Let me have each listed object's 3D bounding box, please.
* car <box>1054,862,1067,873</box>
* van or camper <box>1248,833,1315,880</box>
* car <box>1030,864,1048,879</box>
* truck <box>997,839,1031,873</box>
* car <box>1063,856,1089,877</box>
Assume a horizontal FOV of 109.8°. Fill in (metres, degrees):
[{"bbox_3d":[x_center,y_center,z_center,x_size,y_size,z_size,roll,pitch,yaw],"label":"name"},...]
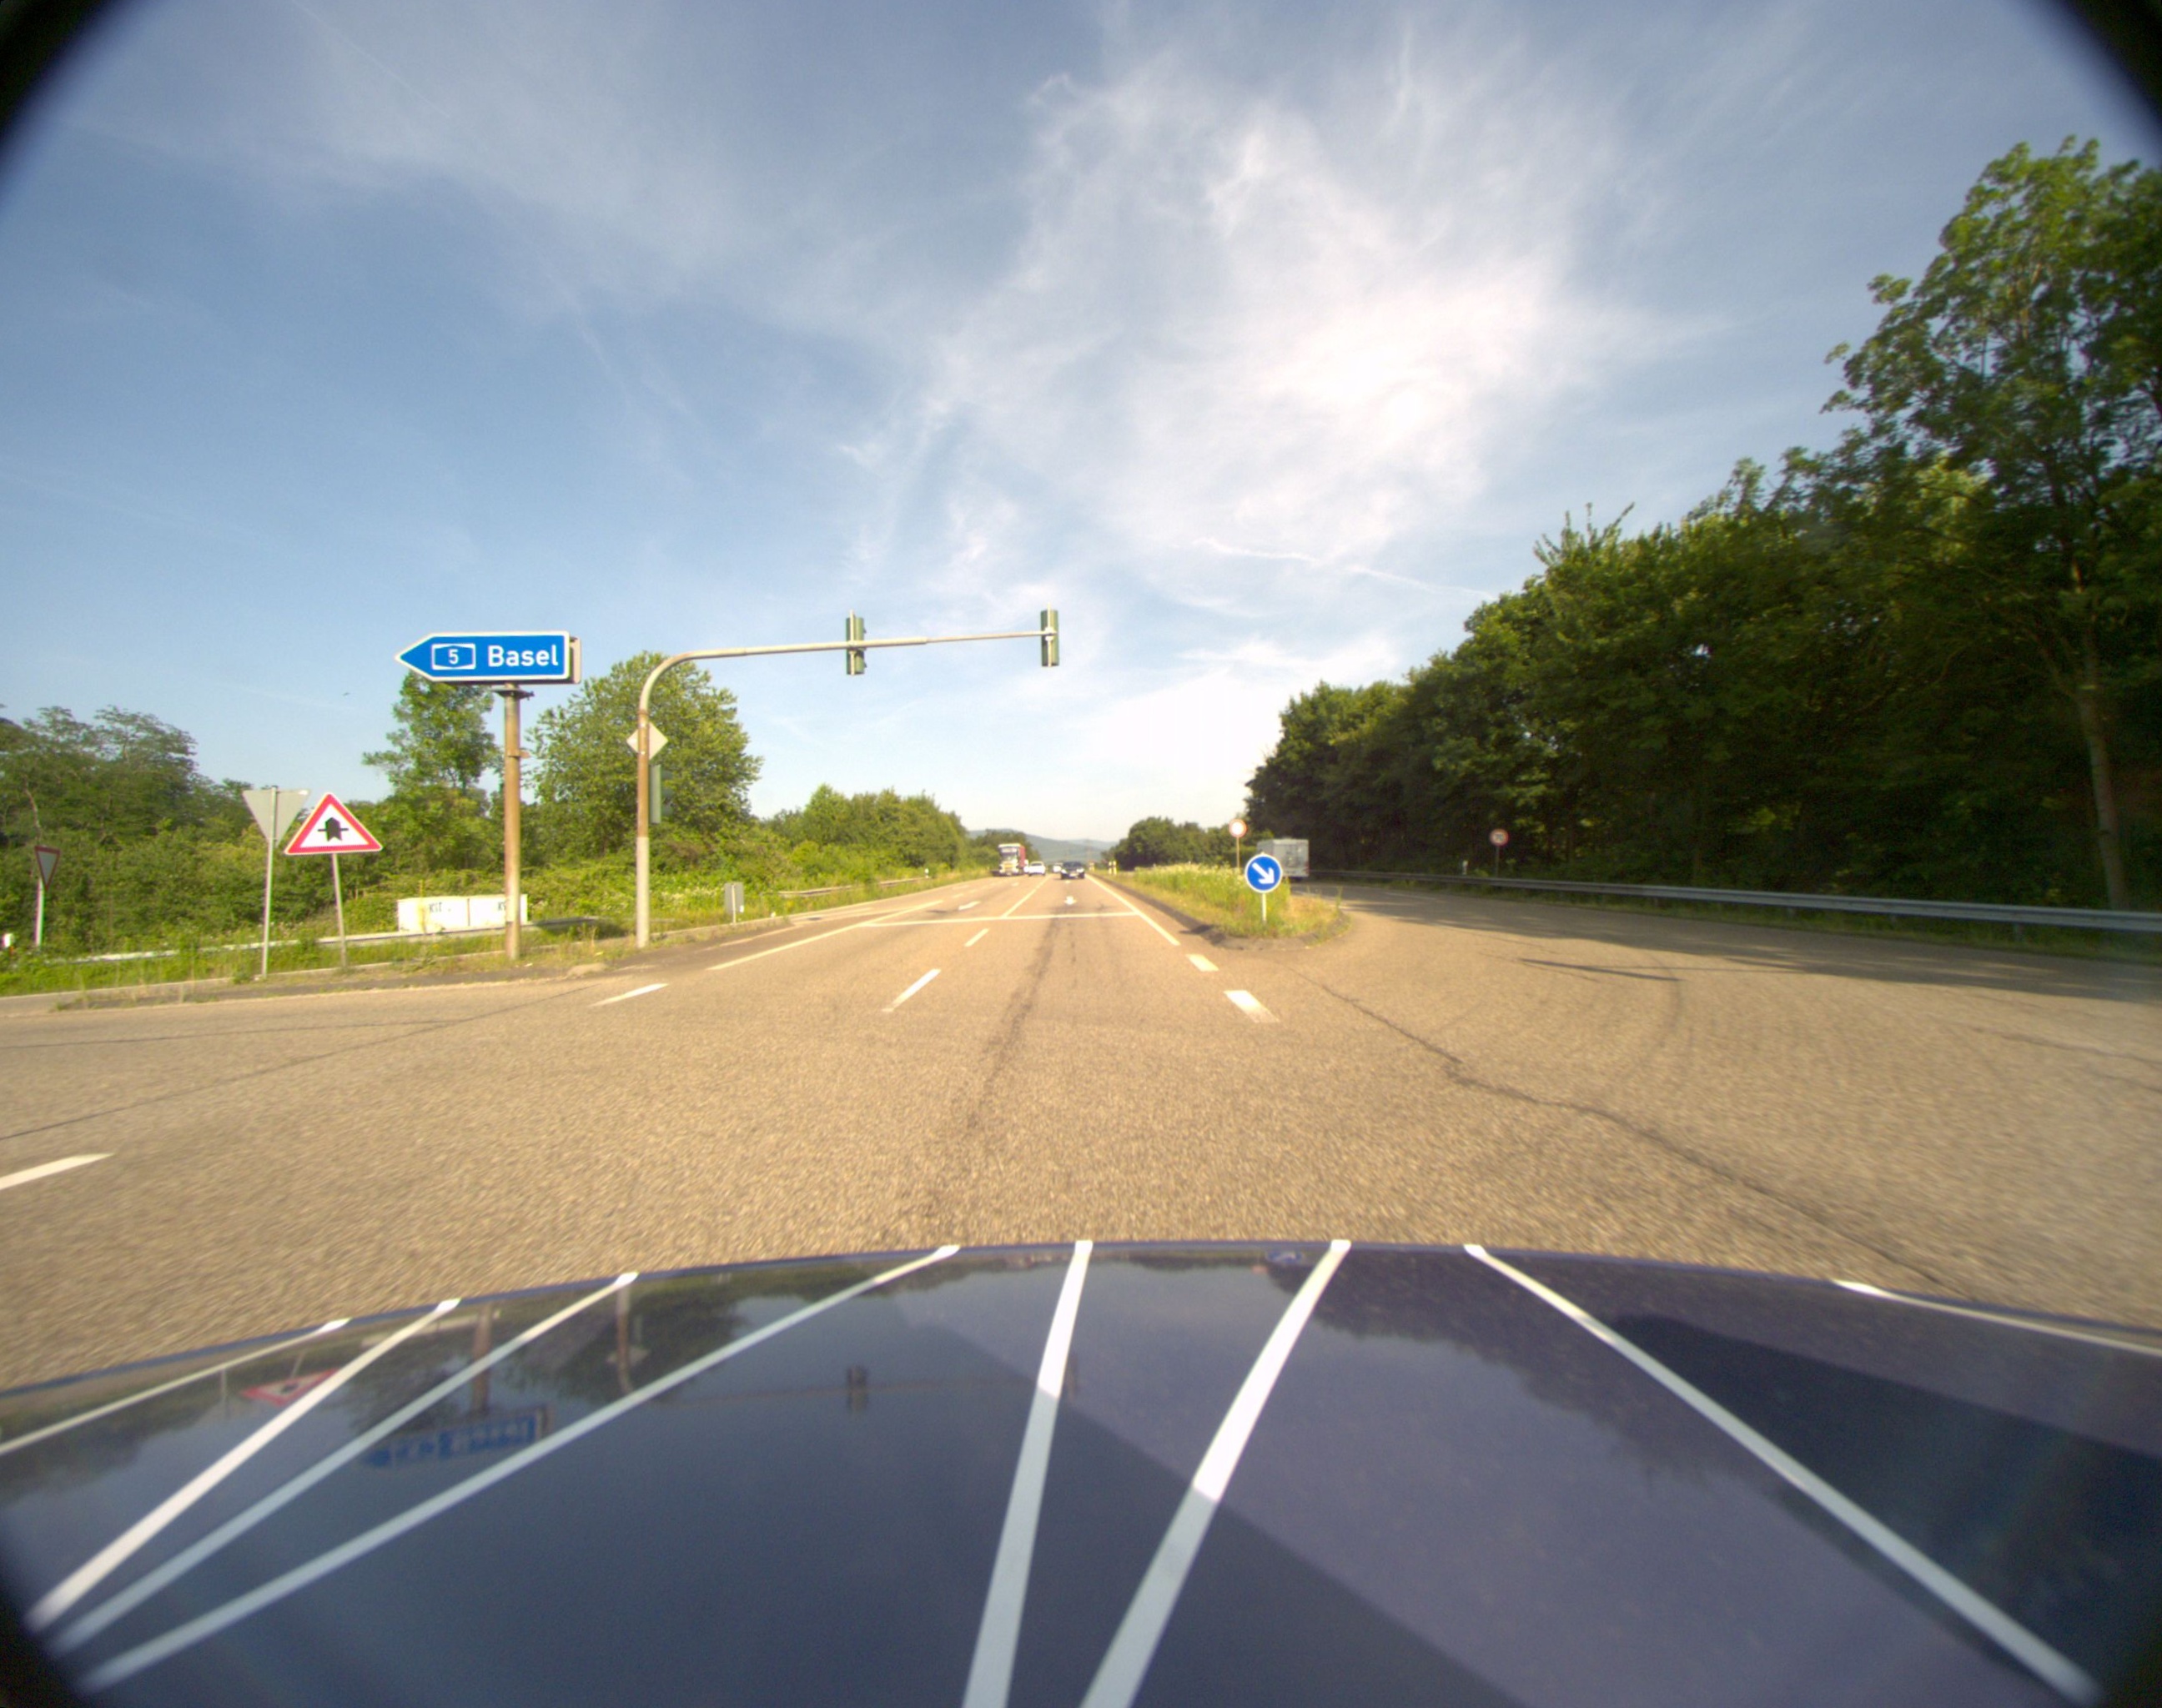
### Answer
[{"bbox_3d":[-3.489,2.238,129.318,1.999,1.632,3.999,-3,0,-3],"label":"car"},{"bbox_3d":[12.408,0.153,47.628,2.419,2.695,6.436,1,0,-1],"label":"van or camper"},{"bbox_3d":[-4.590,1.915,84.060,1.875,1.625,4.833,-1,0,-2],"label":"car"},{"bbox_3d":[-8.687,0.205,100.197,3.197,3.995,14.561,-3,0,-1],"label":"truck"},{"bbox_3d":[-0.437,0.971,59.992,1.862,1.452,4.568,-3,0,-1],"label":"car"}]
